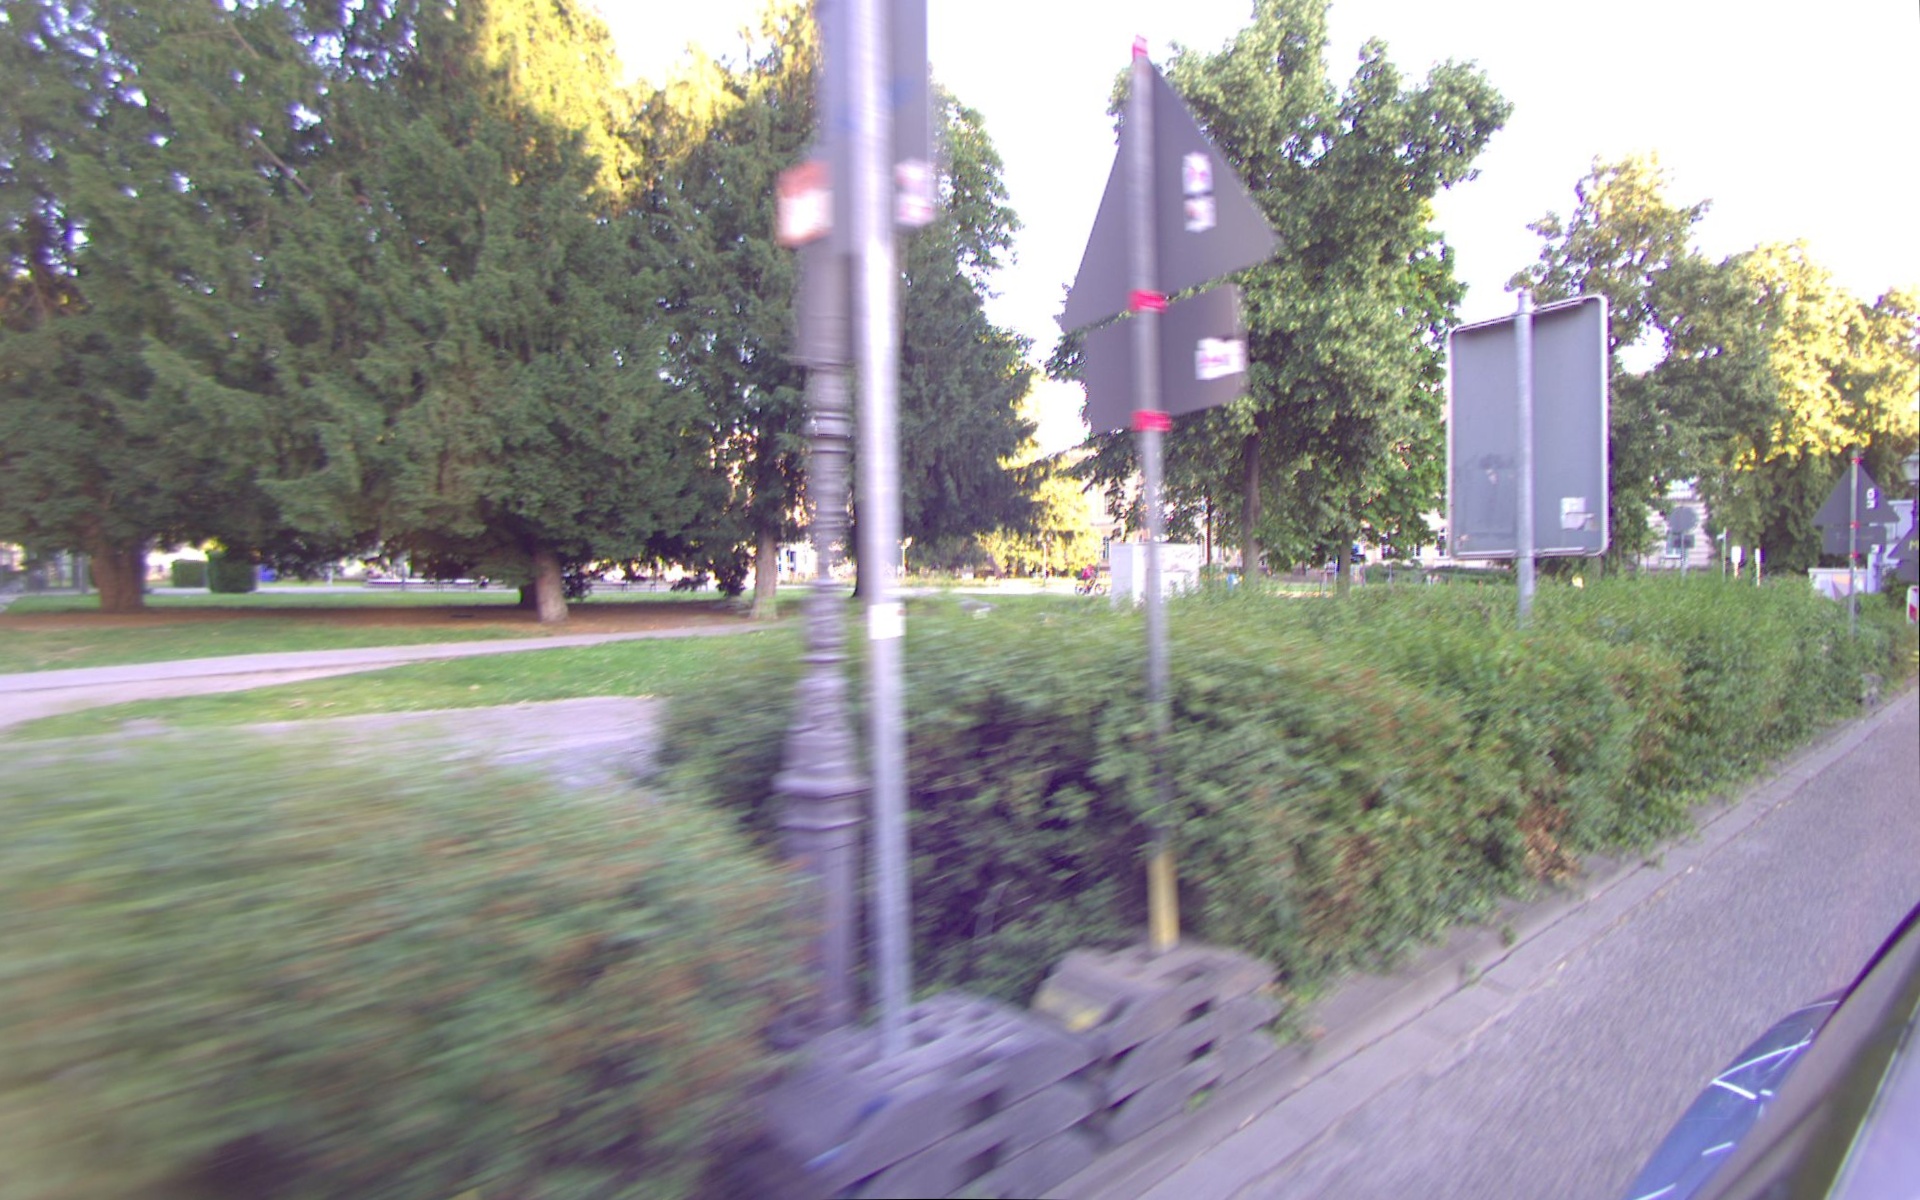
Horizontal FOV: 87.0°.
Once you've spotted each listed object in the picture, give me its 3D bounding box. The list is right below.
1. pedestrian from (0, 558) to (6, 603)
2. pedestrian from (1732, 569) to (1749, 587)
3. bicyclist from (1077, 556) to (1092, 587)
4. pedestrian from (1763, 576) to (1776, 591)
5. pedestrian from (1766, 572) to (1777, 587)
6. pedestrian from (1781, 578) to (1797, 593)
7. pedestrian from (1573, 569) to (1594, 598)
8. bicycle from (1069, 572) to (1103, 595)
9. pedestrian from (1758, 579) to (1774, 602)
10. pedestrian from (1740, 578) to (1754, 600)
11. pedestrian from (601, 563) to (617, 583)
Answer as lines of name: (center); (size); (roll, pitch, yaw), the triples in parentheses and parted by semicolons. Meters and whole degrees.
pedestrian: (-27.313, -0.540, 28.293); (0.707, 1.267, 0.912); (2, 2, 44)
pedestrian: (61.521, -1.737, 79.766); (0.742, 1.462, 0.815); (1, 1, 14)
bicyclist: (6.728, -1.566, 54.677); (0.667, 1.652, 0.656); (1, 1, 14)
pedestrian: (57.597, -1.161, 72.009); (0.595, 1.063, 0.393); (1, 1, 16)
pedestrian: (58.249, -1.500, 72.623); (0.390, 1.063, 0.601); (1, 1, 17)
pedestrian: (58.563, -1.045, 71.505); (0.784, 1.063, 0.394); (1, 1, 13)
pedestrian: (36.867, -0.984, 59.829); (0.745, 1.646, 0.857); (0, 2, -45)
bicycle: (6.810, -0.903, 54.672); (1.749, 1.191, 0.563); (1, 1, 14)
pedestrian: (43.744, -0.534, 54.919); (0.606, 1.219, 0.657); (2, 1, 43)
pedestrian: (43.057, -0.603, 55.386); (0.526, 1.219, 0.955); (2, 1, 42)
pedestrian: (-25.023, -1.893, 72.184); (0.819, 1.387, 1.150); (1, 0, -5)
